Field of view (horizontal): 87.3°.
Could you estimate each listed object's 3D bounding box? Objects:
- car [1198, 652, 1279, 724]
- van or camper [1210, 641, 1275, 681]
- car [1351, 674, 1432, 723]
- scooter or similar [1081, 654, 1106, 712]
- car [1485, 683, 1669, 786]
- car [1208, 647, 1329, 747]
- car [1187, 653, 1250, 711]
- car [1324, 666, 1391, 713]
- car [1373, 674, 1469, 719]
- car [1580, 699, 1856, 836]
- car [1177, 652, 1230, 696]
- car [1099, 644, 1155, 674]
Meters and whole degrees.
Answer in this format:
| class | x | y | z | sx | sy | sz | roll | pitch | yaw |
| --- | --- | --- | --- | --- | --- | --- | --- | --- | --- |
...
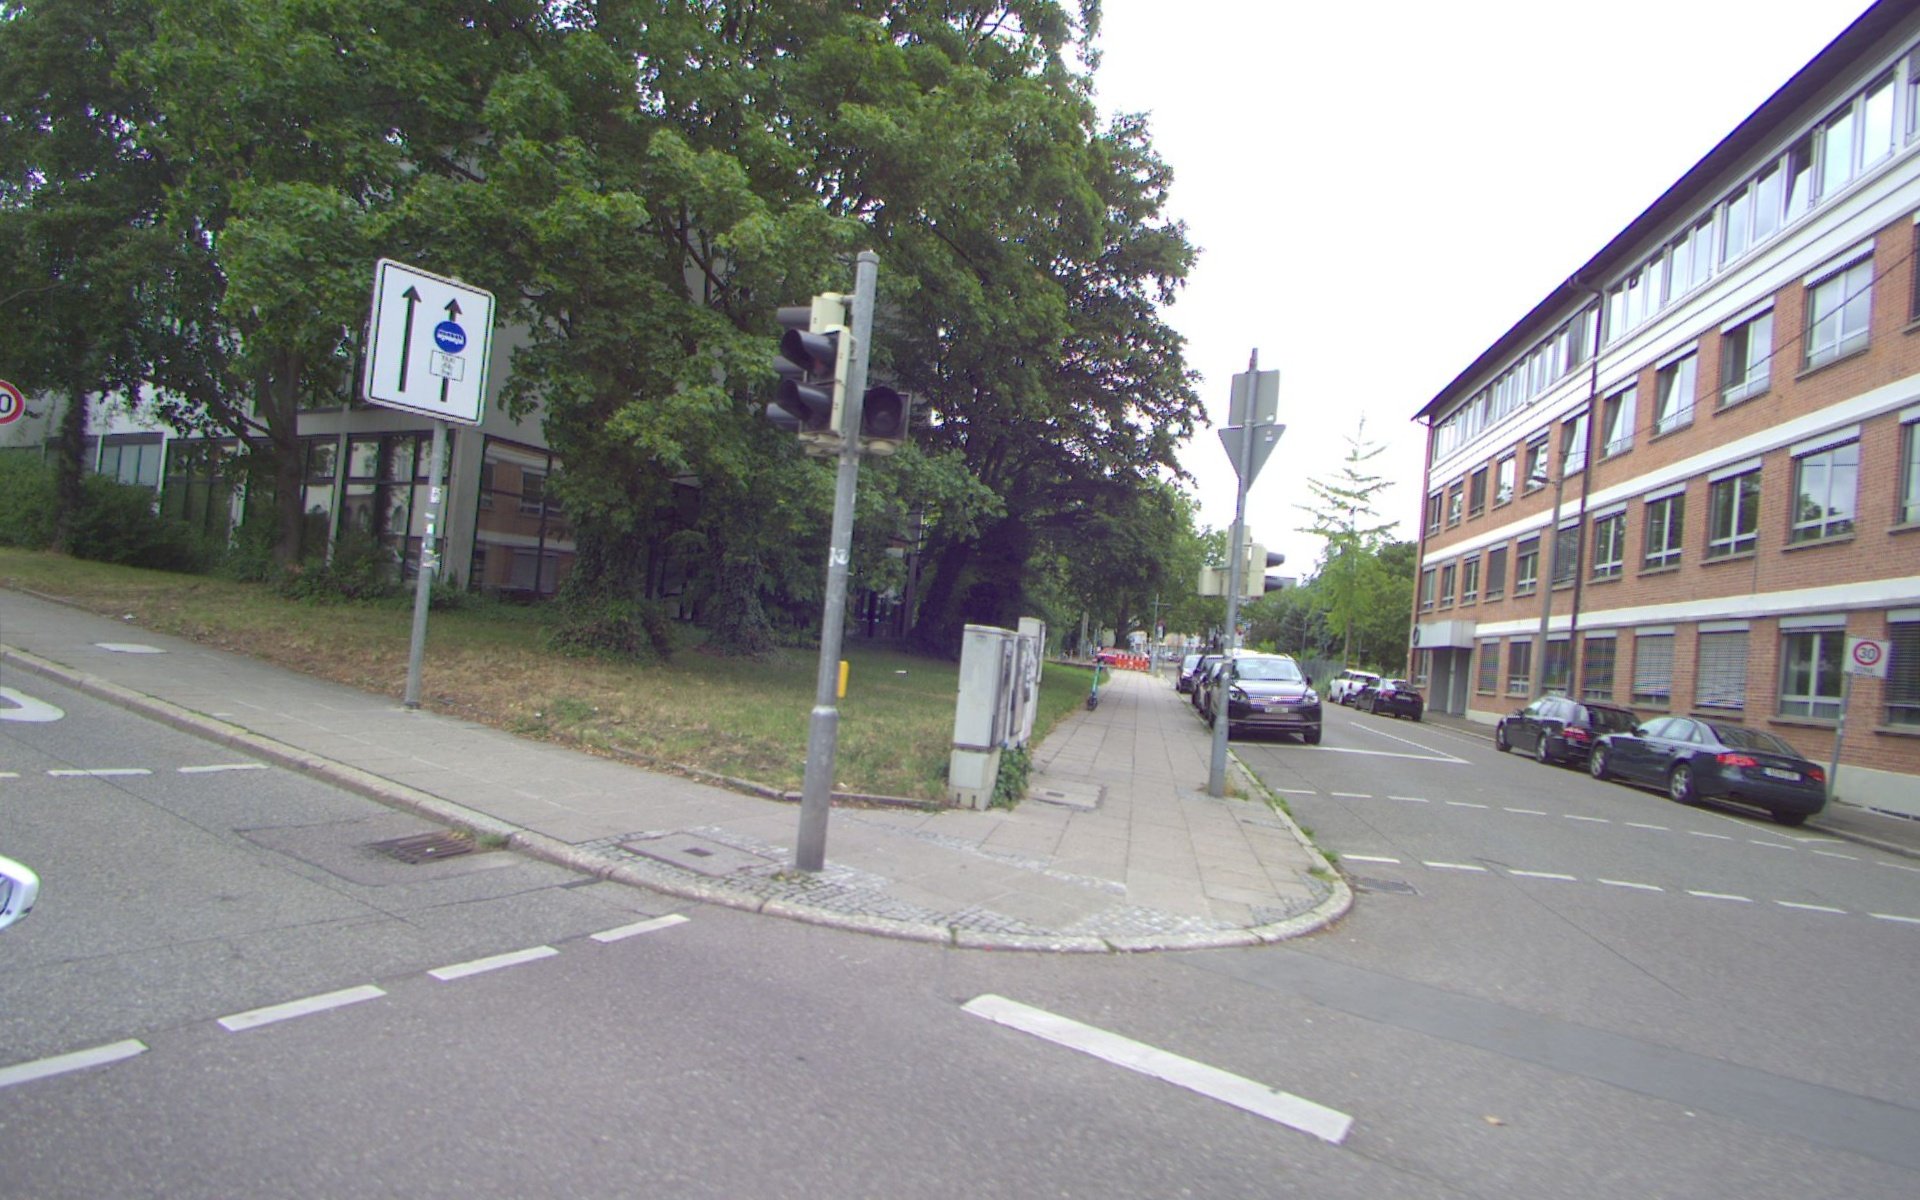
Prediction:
| class | x | y | z | sx | sy | sz | roll | pitch | yaw |
| --- | --- | --- | --- | --- | --- | --- | --- | --- | --- |
| car | 7.252 | 2.241 | 26.560 | 1.713 | 1.628 | 4.312 | 2 | -2 | 11 |
| van or camper | 24.896 | 5.376 | 88.912 | 5.036 | 2.570 | 1.938 | 10 | 1 | 10 |
| car | 16.451 | 3.716 | 38.548 | 1.688 | 1.337 | 4.263 | 10 | 0 | 10 |
| scooter or similar | 3.057 | 1.884 | 22.985 | 0.335 | 1.245 | 1.105 | 7 | 0 | 12 |
| car | 13.440 | 2.859 | 22.273 | 1.740 | 1.527 | 4.401 | 10 | 0 | 10 |
| car | 6.303 | 1.909 | 21.052 | 1.927 | 1.747 | 4.660 | 2 | -2 | 11 |
| car | 8.196 | 2.559 | 32.165 | 1.665 | 1.628 | 4.312 | 2 | -2 | 11 |
| car | 17.675 | 3.944 | 44.927 | 1.688 | 1.566 | 4.263 | 10 | 0 | 10 |
| car | 24.955 | 5.208 | 54.575 | 4.181 | 1.567 | 1.938 | 10 | 0 | 7 |
| car | 12.611 | 2.702 | 17.164 | 1.740 | 1.422 | 4.423 | 10 | 0 | 10 |
| car | 10.202 | 3.059 | 42.415 | 1.961 | 1.628 | 4.312 | 2 | -2 | 11 |
| car | 12.493 | 4.405 | 75.315 | 3.909 | 1.628 | 1.851 | 7 | 0 | 11 |
